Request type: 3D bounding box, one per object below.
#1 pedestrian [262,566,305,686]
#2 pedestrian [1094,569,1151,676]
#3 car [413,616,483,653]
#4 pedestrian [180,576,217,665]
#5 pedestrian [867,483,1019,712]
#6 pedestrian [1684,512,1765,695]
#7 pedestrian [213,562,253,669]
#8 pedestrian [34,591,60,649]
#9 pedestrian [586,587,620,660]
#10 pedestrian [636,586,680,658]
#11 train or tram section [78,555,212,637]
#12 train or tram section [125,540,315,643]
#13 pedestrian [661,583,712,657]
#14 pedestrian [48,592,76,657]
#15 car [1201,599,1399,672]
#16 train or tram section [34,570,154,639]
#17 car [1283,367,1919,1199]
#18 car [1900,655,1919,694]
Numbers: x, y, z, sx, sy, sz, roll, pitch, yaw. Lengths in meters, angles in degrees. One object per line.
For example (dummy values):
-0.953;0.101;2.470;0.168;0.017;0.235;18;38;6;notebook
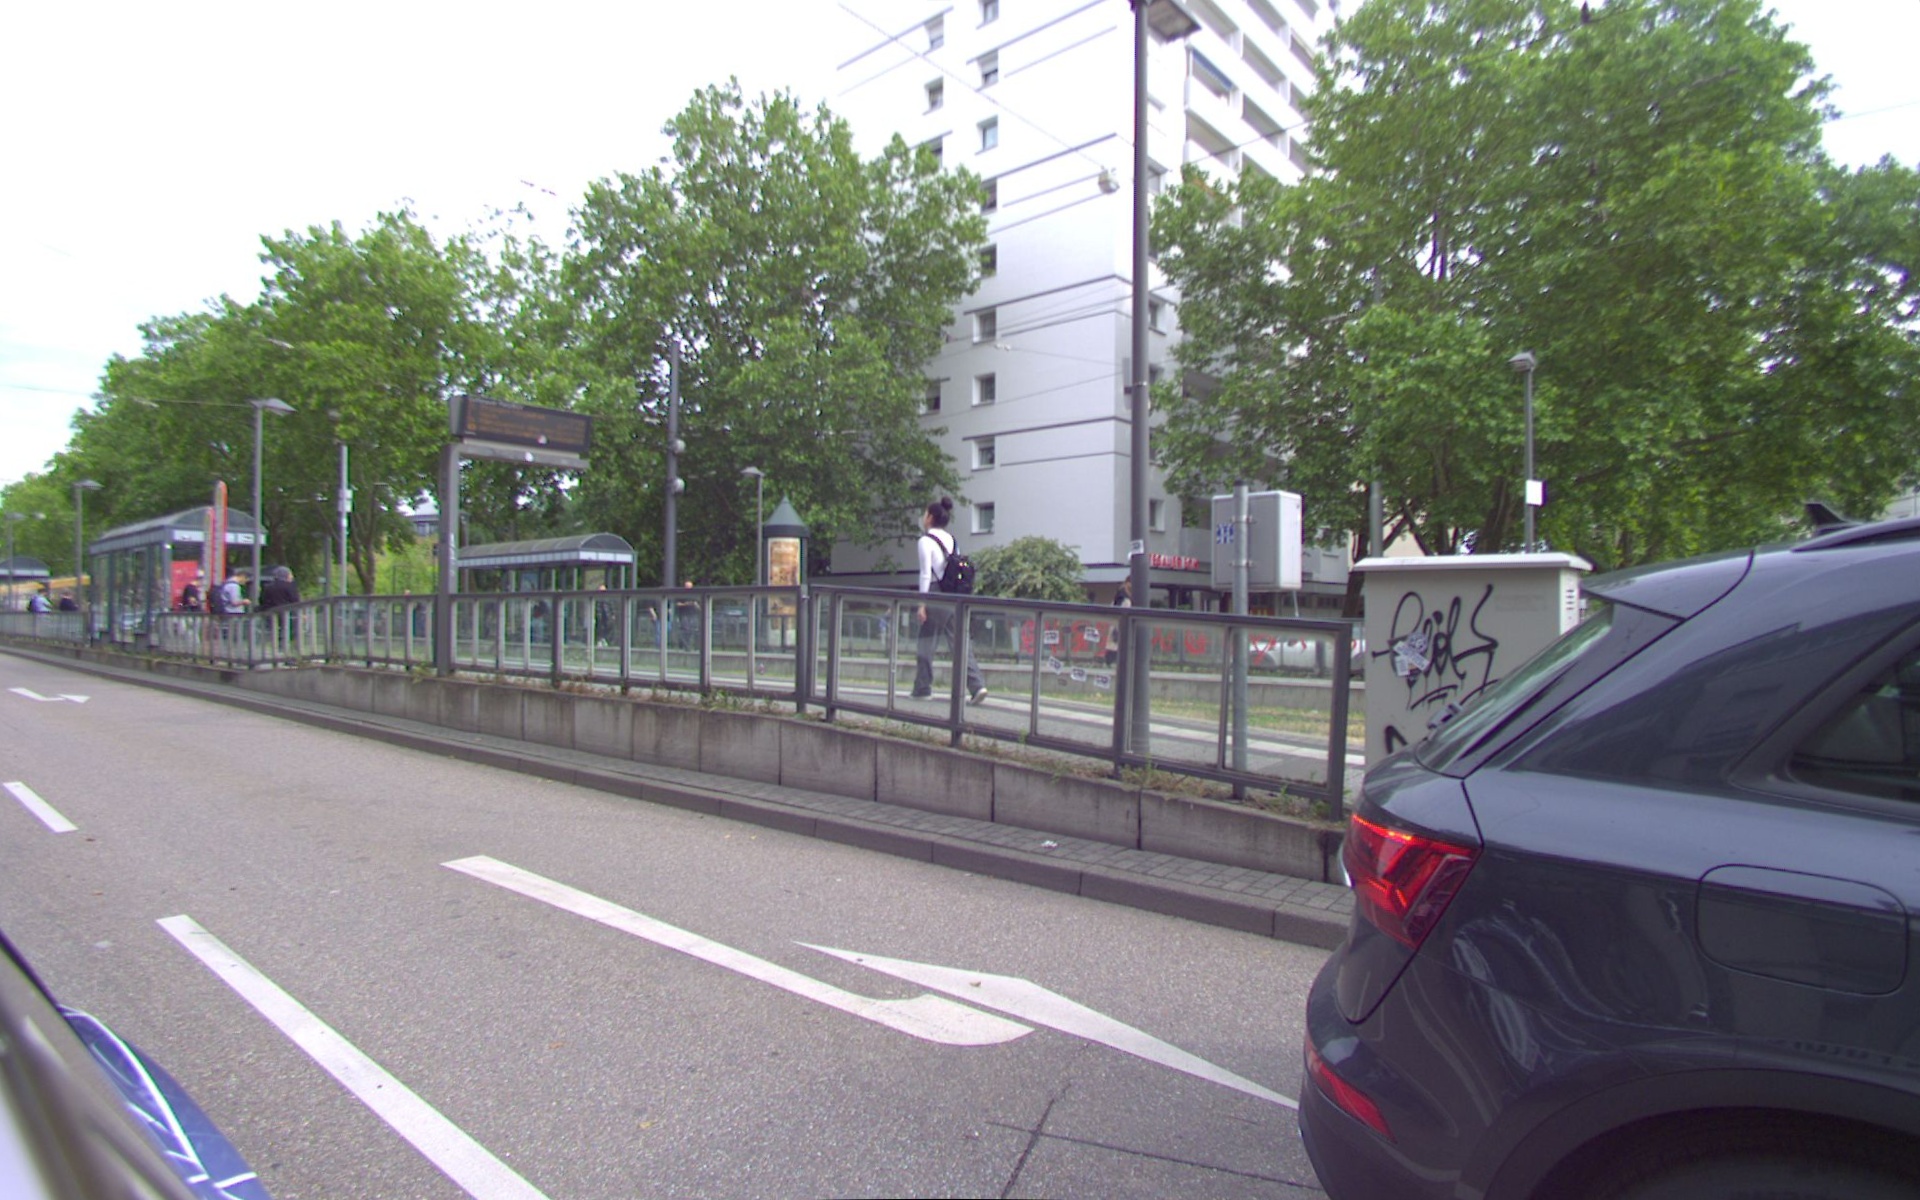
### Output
-10.520;0.387;15.740;0.513;1.818;0.606;-1;0;-37;pedestrian
2.746;0.369;17.086;0.666;1.763;0.728;-1;0;41;pedestrian
-20.738;1.365;40.966;3.221;1.439;1.560;-1;-1;44;car
-15.916;0.417;21.160;0.467;1.818;0.607;-1;0;-24;pedestrian
-0.141;-0.018;8.064;0.979;1.683;0.711;-1;0;44;pedestrian
8.596;0.034;11.378;0.666;1.965;0.728;-1;0;41;pedestrian
-12.696;0.264;17.668;0.605;1.818;0.469;-1;0;45;pedestrian
-29.029;0.622;32.182;0.523;1.818;0.607;-1;0;-35;pedestrian
-9.788;0.634;27.763;0.553;1.945;0.690;-1;0;41;pedestrian
-7.919;0.572;26.515;0.666;1.848;0.871;-1;0;41;pedestrian
-42.356;-0.134;52.366;12.543;3.781;3.295;-1;0;41;train or tram section
-31.905;-0.253;43.148;15.196;3.781;3.295;-1;0;41;train or tram section
-6.661;0.470;24.633;0.850;1.769;0.871;-1;0;41;pedestrian
-25.559;0.691;28.821;0.523;1.818;0.607;-1;0;-35;pedestrian
7.691;0.786;23.222;3.952;1.564;1.931;-1;0;7;car
-53.227;0.299;61.910;16.241;3.781;3.295;-1;0;41;train or tram section
2.700;0.528;0.971;4.225;1.649;1.715;-1;0;41;car
42.728;3.260;43.193;1.979;1.697;3.986;0;-1;11;car
